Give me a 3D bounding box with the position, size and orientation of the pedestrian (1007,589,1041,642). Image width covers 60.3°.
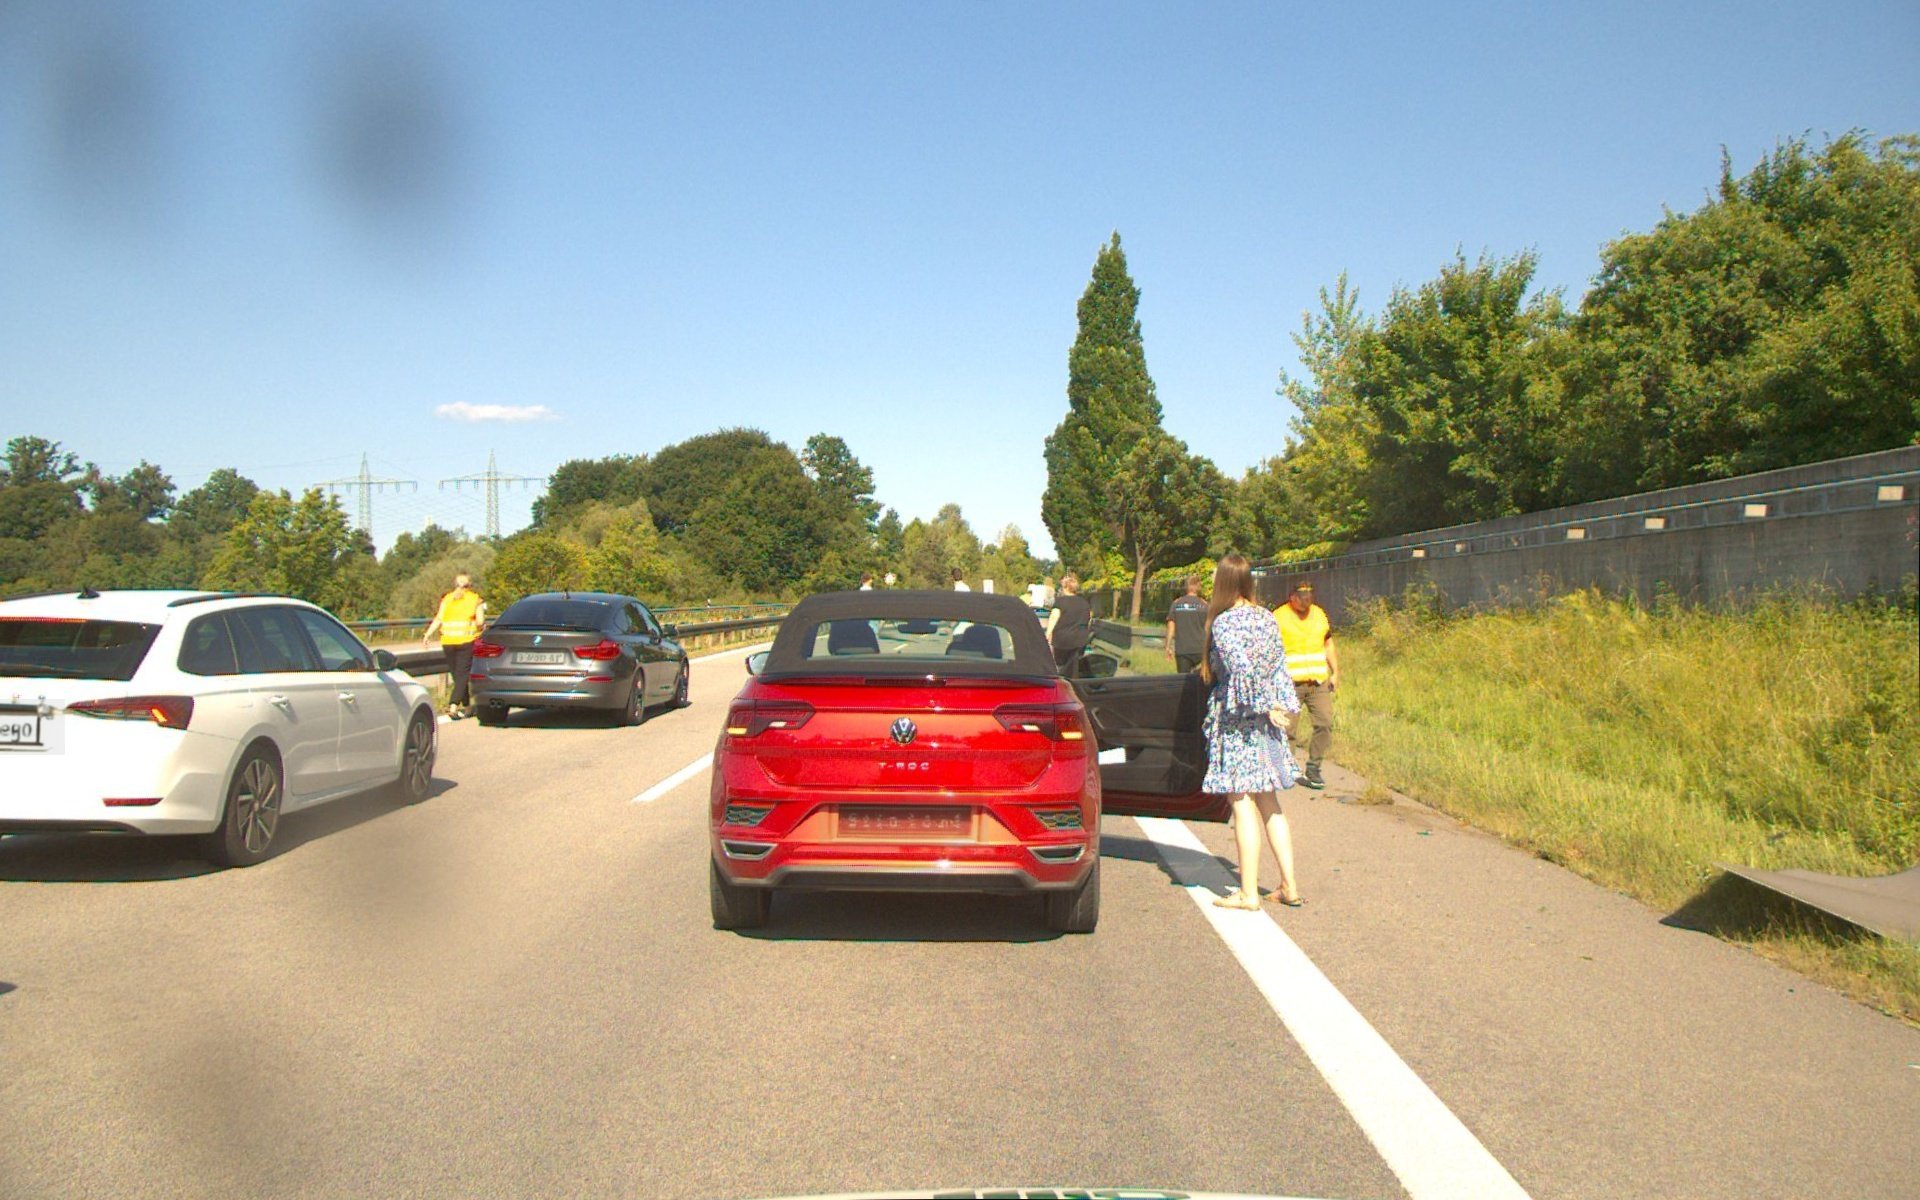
[{"bbox_3d":[2.152,0.511,55.279,1.033,1.719,1.018,1,-1,7],"label":"pedestrian"}]

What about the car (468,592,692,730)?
[{"bbox_3d":[-4.401,0.643,19.820,1.660,1.451,4.334,1,0,0],"label":"car"}]

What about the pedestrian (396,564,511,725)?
[{"bbox_3d":[-5.858,0.497,19.195,1.020,1.794,1.117,-1,0,-4],"label":"pedestrian"}]

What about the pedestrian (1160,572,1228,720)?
[{"bbox_3d":[2.918,0.558,20.598,0.794,1.790,0.829,1,-1,9],"label":"pedestrian"}]

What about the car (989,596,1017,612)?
[{"bbox_3d":[4.239,0.384,162.078,1.696,1.513,4.213,1,0,16],"label":"car"}]

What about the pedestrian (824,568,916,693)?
[{"bbox_3d":[-1.340,0.446,24.862,1.080,1.820,1.092,1,-1,14],"label":"pedestrian"}]

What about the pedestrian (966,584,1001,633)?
[{"bbox_3d":[0.853,0.312,59.804,1.093,1.719,0.971,1,-1,-11],"label":"pedestrian"}]

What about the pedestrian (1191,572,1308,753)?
[{"bbox_3d":[2.882,0.610,16.502,0.881,1.755,0.750,1,-1,-19],"label":"pedestrian"}]

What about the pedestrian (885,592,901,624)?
[{"bbox_3d":[-3.619,0.436,89.220,0.775,1.719,0.793,1,-1,5],"label":"pedestrian"}]

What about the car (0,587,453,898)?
[{"bbox_3d":[-4.566,0.673,10.026,1.660,1.467,4.210,1,0,0],"label":"car"}]

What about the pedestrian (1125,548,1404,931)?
[{"bbox_3d":[1.467,0.624,8.136,0.878,1.725,1.121,-1,0,-23],"label":"pedestrian"}]

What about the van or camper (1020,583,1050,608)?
[{"bbox_3d":[7.352,-0.435,160.982,1.951,2.356,4.473,1,0,15],"label":"van or camper"}]

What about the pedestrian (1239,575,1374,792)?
[{"bbox_3d":[2.811,0.652,13.558,0.937,1.682,1.279,-1,0,6],"label":"pedestrian"}]

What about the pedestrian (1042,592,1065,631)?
[{"bbox_3d":[4.241,0.511,75.072,0.975,1.719,1.011,1,-1,3],"label":"pedestrian"}]

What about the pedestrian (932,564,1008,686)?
[{"bbox_3d":[0.155,0.399,27.388,1.085,1.946,1.255,-1,0,-8],"label":"pedestrian"}]

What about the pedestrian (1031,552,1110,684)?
[{"bbox_3d":[1.635,0.261,24.660,1.067,1.916,1.068,-1,0,-1],"label":"pedestrian"}]

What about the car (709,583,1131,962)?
[{"bbox_3d":[-0.159,0.694,8.824,1.697,1.513,4.210,1,0,0],"label":"car"}]
